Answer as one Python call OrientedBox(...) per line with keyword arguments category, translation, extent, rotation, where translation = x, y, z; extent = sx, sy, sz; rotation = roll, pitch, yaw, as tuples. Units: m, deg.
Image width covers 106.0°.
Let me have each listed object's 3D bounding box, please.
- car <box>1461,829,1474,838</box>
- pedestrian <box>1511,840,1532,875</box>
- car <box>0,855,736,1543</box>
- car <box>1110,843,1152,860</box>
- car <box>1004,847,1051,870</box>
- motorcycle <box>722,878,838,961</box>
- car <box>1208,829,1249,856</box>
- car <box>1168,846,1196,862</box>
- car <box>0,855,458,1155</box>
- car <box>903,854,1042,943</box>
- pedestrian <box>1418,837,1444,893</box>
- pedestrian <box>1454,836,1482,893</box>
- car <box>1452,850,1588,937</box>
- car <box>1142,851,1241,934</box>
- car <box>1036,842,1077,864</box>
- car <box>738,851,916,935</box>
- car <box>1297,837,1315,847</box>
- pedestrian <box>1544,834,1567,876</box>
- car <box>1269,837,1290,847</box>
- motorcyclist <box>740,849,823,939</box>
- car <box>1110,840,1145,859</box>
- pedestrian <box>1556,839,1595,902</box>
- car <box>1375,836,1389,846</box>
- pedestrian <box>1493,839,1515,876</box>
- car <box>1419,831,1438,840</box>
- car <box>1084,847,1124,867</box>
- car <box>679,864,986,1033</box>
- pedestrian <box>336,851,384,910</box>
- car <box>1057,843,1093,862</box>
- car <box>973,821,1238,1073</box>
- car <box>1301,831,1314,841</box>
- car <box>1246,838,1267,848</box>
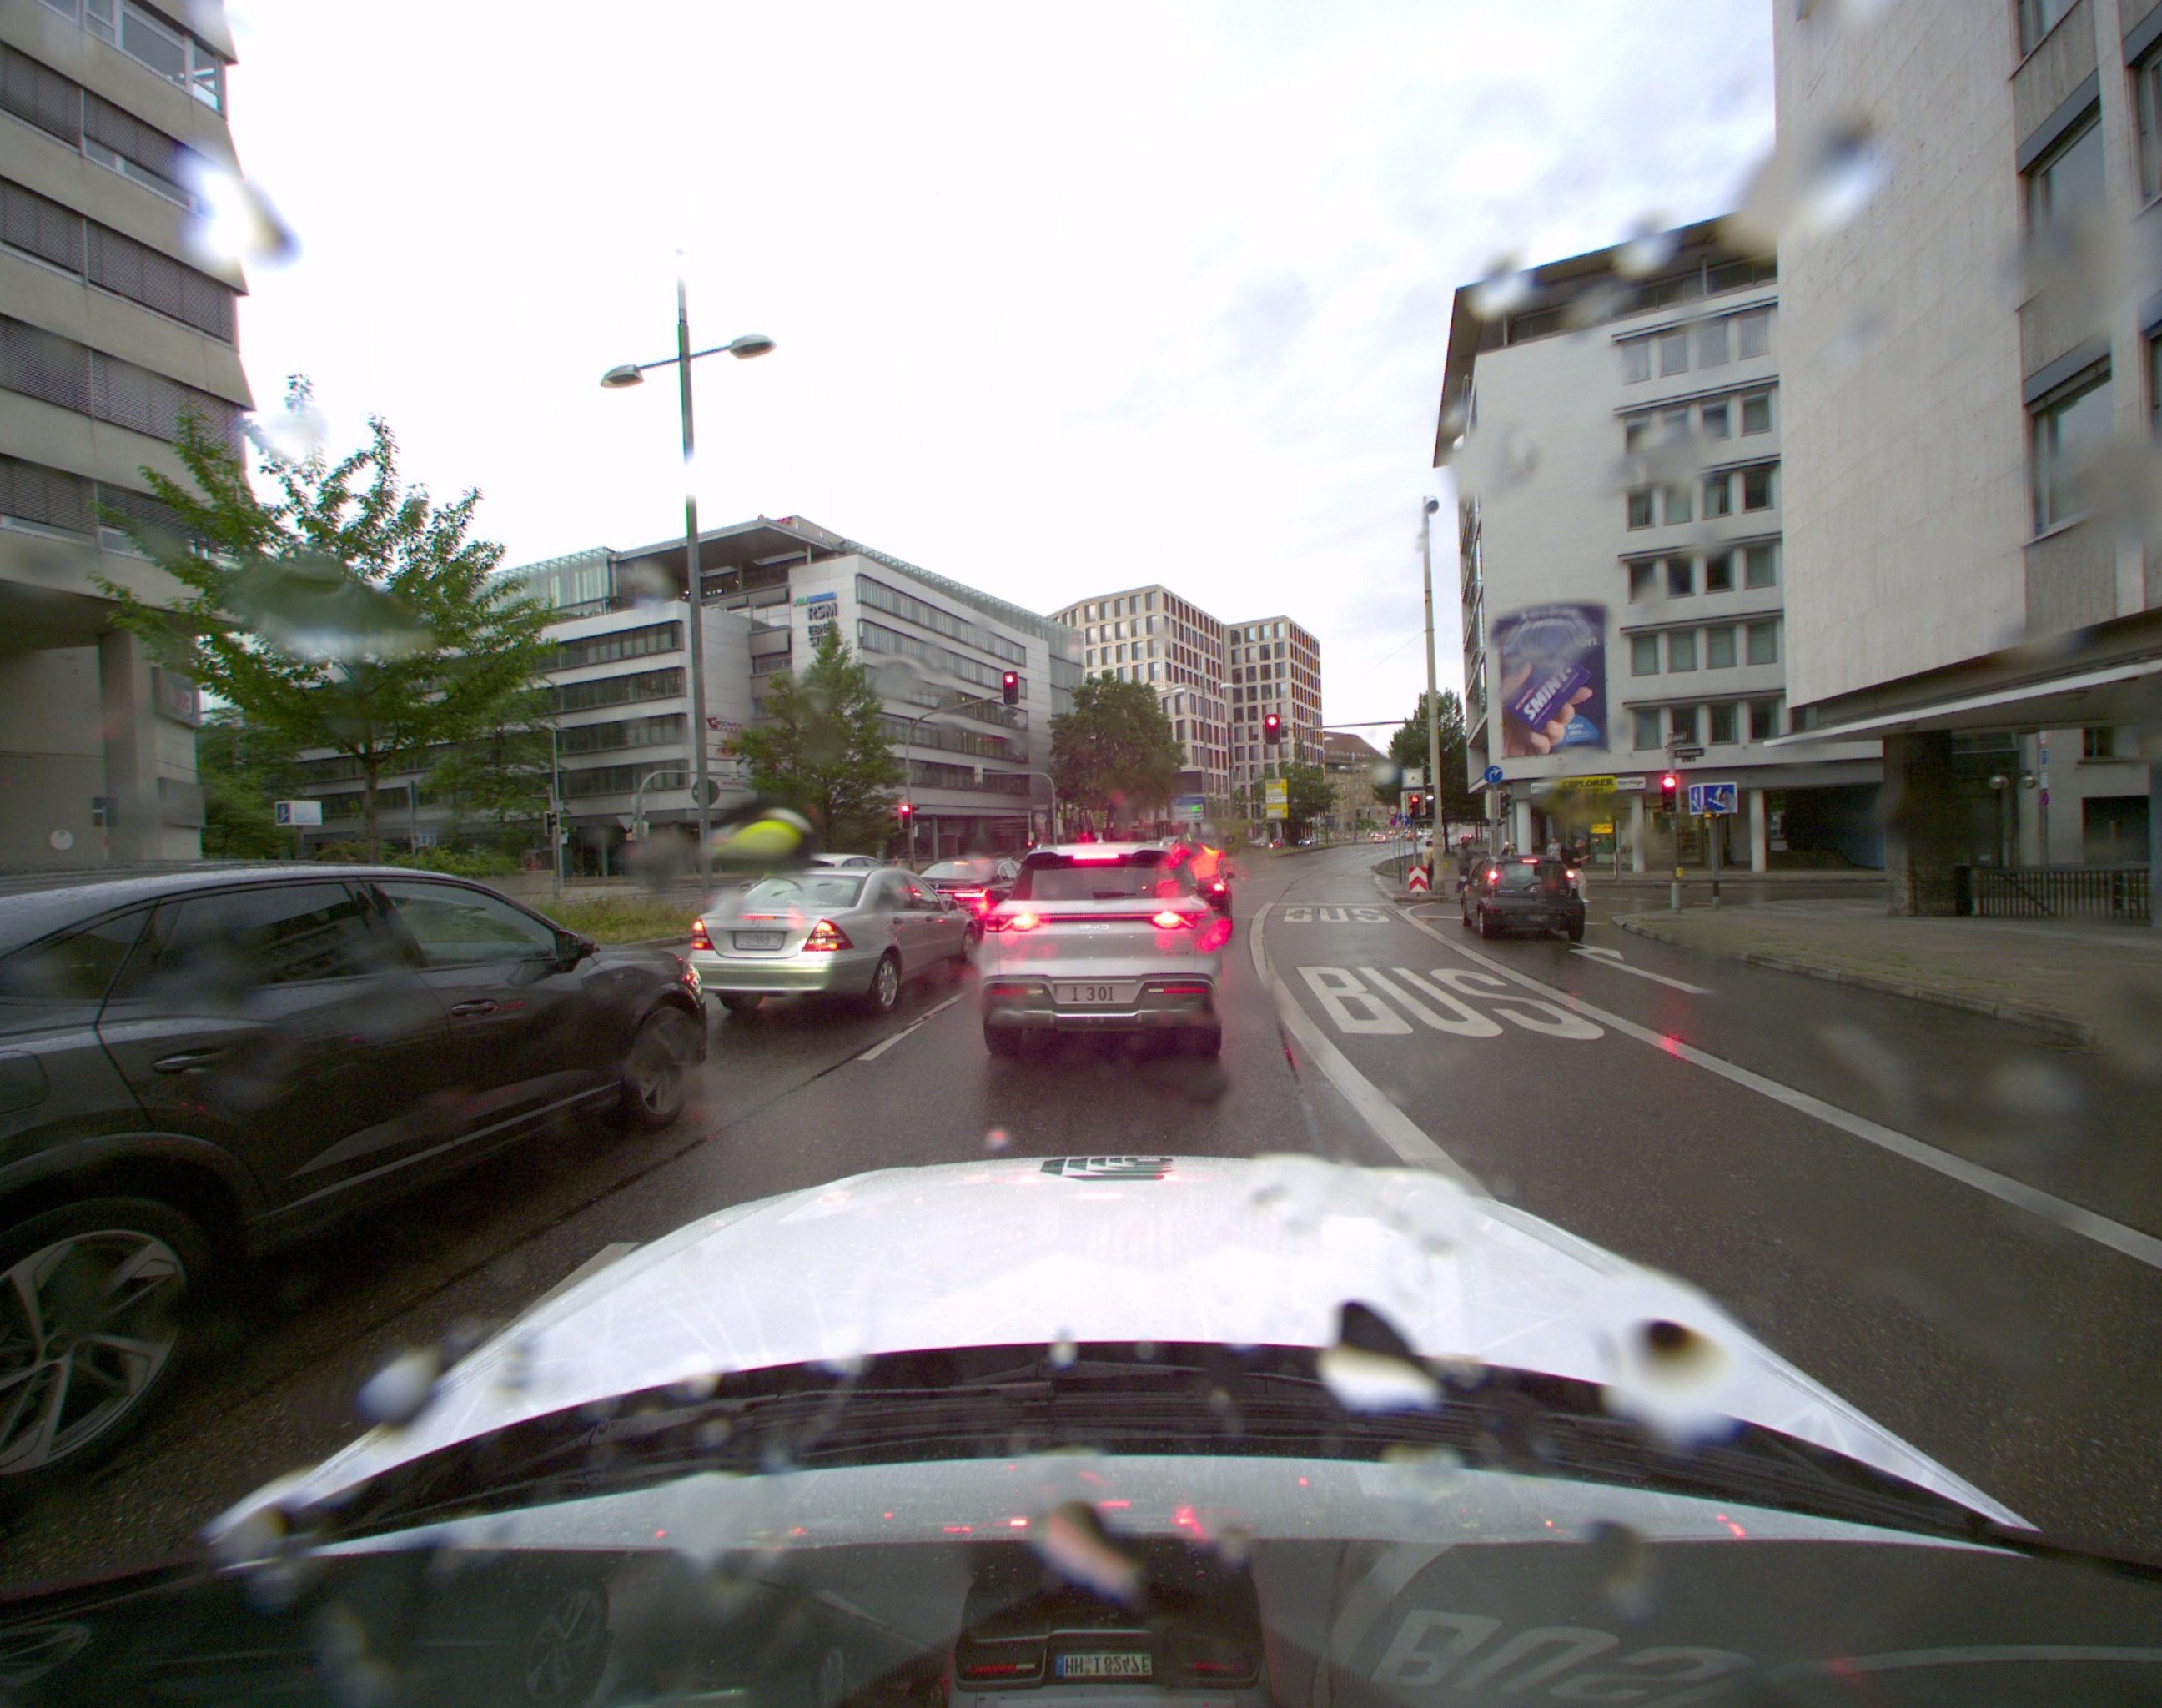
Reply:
OrientedBox(category="car", translation=(70.783, -3.740, 149.053), extent=(1.677, 1.486, 4.025), rotation=(-1, -1, 32))
OrientedBox(category="pedestrian", translation=(19.520, 0.166, 36.068), extent=(0.657, 1.543, 0.618), rotation=(-1, 0, -45))
OrientedBox(category="car", translation=(-3.203, 0.790, 3.286), extent=(1.642, 1.521, 4.274), rotation=(-1, 0, 2))
OrientedBox(category="car", translation=(4.924, -0.246, 79.147), extent=(1.796, 1.510, 5.229), rotation=(-1, 1, 30))
OrientedBox(category="car", translation=(-4.055, 0.333, 62.102), extent=(1.976, 1.610, 4.022), rotation=(-1, 0, 22))
OrientedBox(category="motorcycle", translation=(-4.772, 0.998, 13.093), extent=(0.795, 1.185, 2.034), rotation=(-1, -1, 11))
OrientedBox(category="car", translation=(11.820, -0.879, 65.050), extent=(1.975, 2.014, 4.876), rotation=(-1, -1, 25))
OrientedBox(category="car", translation=(11.106, -0.012, 89.395), extent=(1.616, 1.559, 4.620), rotation=(-1, 1, 25))
OrientedBox(category="car", translation=(-6.522, 0.794, 4.908), extent=(1.859, 1.533, 4.776), rotation=(-1, 0, 0))
OrientedBox(category="car", translation=(-1.924, 0.767, 15.679), extent=(1.561, 1.486, 4.010), rotation=(-1, -1, 9))
OrientedBox(category="pedestrian", translation=(11.533, 0.358, 26.880), extent=(0.742, 1.798, 0.821), rotation=(-1, 1, 22))
OrientedBox(category="pedestrian", translation=(12.481, 0.339, 26.267), extent=(0.742, 1.798, 0.821), rotation=(-1, 1, 22))
OrientedBox(category="car", translation=(8.170, 0.665, 15.487), extent=(1.558, 1.429, 4.018), rotation=(-1, -1, 18))
OrientedBox(category="car", translation=(2.380, 0.707, 16.715), extent=(1.682, 1.486, 4.013), rotation=(-1, -1, 12))
OrientedBox(category="car", translation=(-1.783, -0.074, 59.734), extent=(1.630, 1.536, 4.172), rotation=(-1, 0, 18))
OrientedBox(category="car", translation=(-4.958, 0.703, 16.531), extent=(1.696, 1.486, 4.013), rotation=(-1, -1, 11))
OrientedBox(category="car", translation=(36.549, -1.989, 132.158), extent=(1.974, 1.488, 4.025), rotation=(-1, 1, 29))
OrientedBox(category="pedestrian", translation=(20.564, 0.043, 35.303), extent=(0.778, 1.794, 0.662), rotation=(-1, 0, -45))
OrientedBox(category="car", translation=(29.834, -1.820, 122.401), extent=(1.974, 1.488, 4.025), rotation=(-1, 1, 29))
OrientedBox(category="motorcyclist", translation=(-4.776, 0.613, 13.059), extent=(0.765, 1.380, 1.122), rotation=(-1, -1, 11))
OrientedBox(category="car", translation=(4.062, -0.399, 70.577), extent=(1.629, 1.581, 4.109), rotation=(-1, 0, 23))
OrientedBox(category="pedestrian", translation=(13.852, 0.456, 22.818), extent=(0.764, 1.731, 0.599), rotation=(-1, 0, 16))
OrientedBox(category="car", translation=(49.966, -2.178, 135.303), extent=(1.871, 1.643, 4.023), rotation=(-1, 0, 24))
OrientedBox(category="pedestrian", translation=(19.011, 0.138, 36.595), extent=(0.657, 1.655, 0.662), rotation=(-1, 0, -45))
OrientedBox(category="car", translation=(78.774, -4.221, 184.596), extent=(3.949, 2.013, 2.012), rotation=(-1, 0, 28))
OrientedBox(category="car", translation=(1.690, 0.230, 58.915), extent=(1.675, 1.385, 3.888), rotation=(-1, -1, 21))
OrientedBox(category="car", translation=(-2.414, 0.835, 9.076), extent=(1.561, 1.407, 4.120), rotation=(-1, -1, 10))
OrientedBox(category="pedestrian", translation=(-20.988, 0.766, 23.723), extent=(0.672, 1.683, 0.766), rotation=(-1, 0, 15))
OrientedBox(category="car", translation=(-0.487, -0.133, 69.001), extent=(1.623, 1.571, 3.740), rotation=(-1, -1, 25))
OrientedBox(category="car", translation=(0.294, 0.643, 7.473), extent=(1.768, 1.679, 4.004), rotation=(-1, -1, 4))
OrientedBox(category="car", translation=(45.272, -3.567, 162.634), extent=(1.590, 1.741, 3.467), rotation=(-1, -1, 34))
OrientedBox(category="car", translation=(26.419, -1.670, 122.468), extent=(1.974, 1.488, 4.025), rotation=(-1, 1, 29))
